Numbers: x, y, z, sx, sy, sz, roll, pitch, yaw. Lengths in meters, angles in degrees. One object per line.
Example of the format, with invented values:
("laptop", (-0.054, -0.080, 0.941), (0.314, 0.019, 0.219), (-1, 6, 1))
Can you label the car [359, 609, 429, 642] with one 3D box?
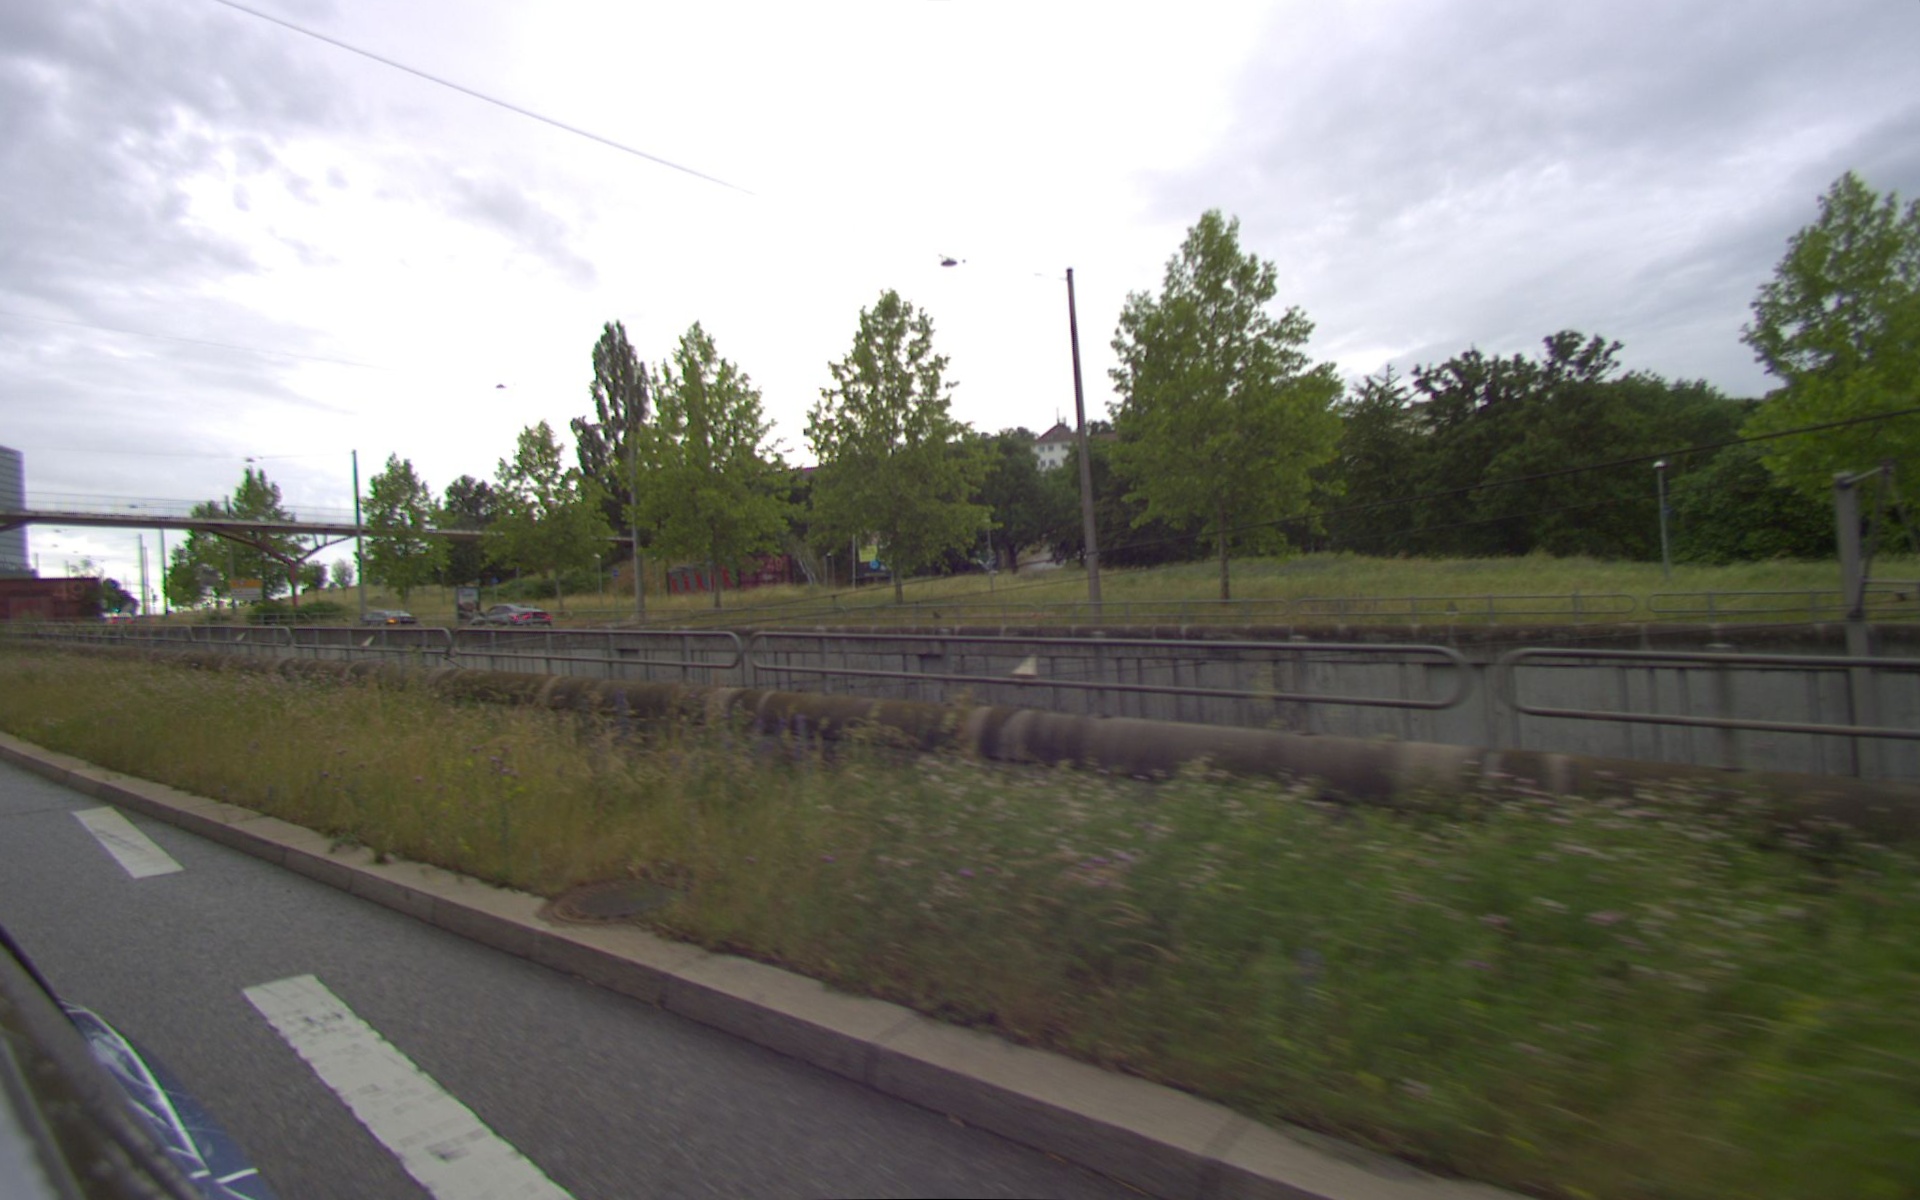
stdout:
("car", (-30.177, 1.353, 53.952), (3.967, 1.653, 1.873), (-2, 0, 39))

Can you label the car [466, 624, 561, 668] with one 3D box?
("car", (-19.293, 1.963, 43.698), (4.352, 1.656, 1.873), (-2, 3, 39))

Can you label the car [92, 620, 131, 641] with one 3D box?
("car", (-70.547, 2.545, 84.108), (4.429, 1.539, 1.641), (-3, 0, 39))

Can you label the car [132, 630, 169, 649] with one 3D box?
("car", (-76.310, 3.724, 95.402), (3.782, 1.585, 1.643), (-2, 2, 35))
